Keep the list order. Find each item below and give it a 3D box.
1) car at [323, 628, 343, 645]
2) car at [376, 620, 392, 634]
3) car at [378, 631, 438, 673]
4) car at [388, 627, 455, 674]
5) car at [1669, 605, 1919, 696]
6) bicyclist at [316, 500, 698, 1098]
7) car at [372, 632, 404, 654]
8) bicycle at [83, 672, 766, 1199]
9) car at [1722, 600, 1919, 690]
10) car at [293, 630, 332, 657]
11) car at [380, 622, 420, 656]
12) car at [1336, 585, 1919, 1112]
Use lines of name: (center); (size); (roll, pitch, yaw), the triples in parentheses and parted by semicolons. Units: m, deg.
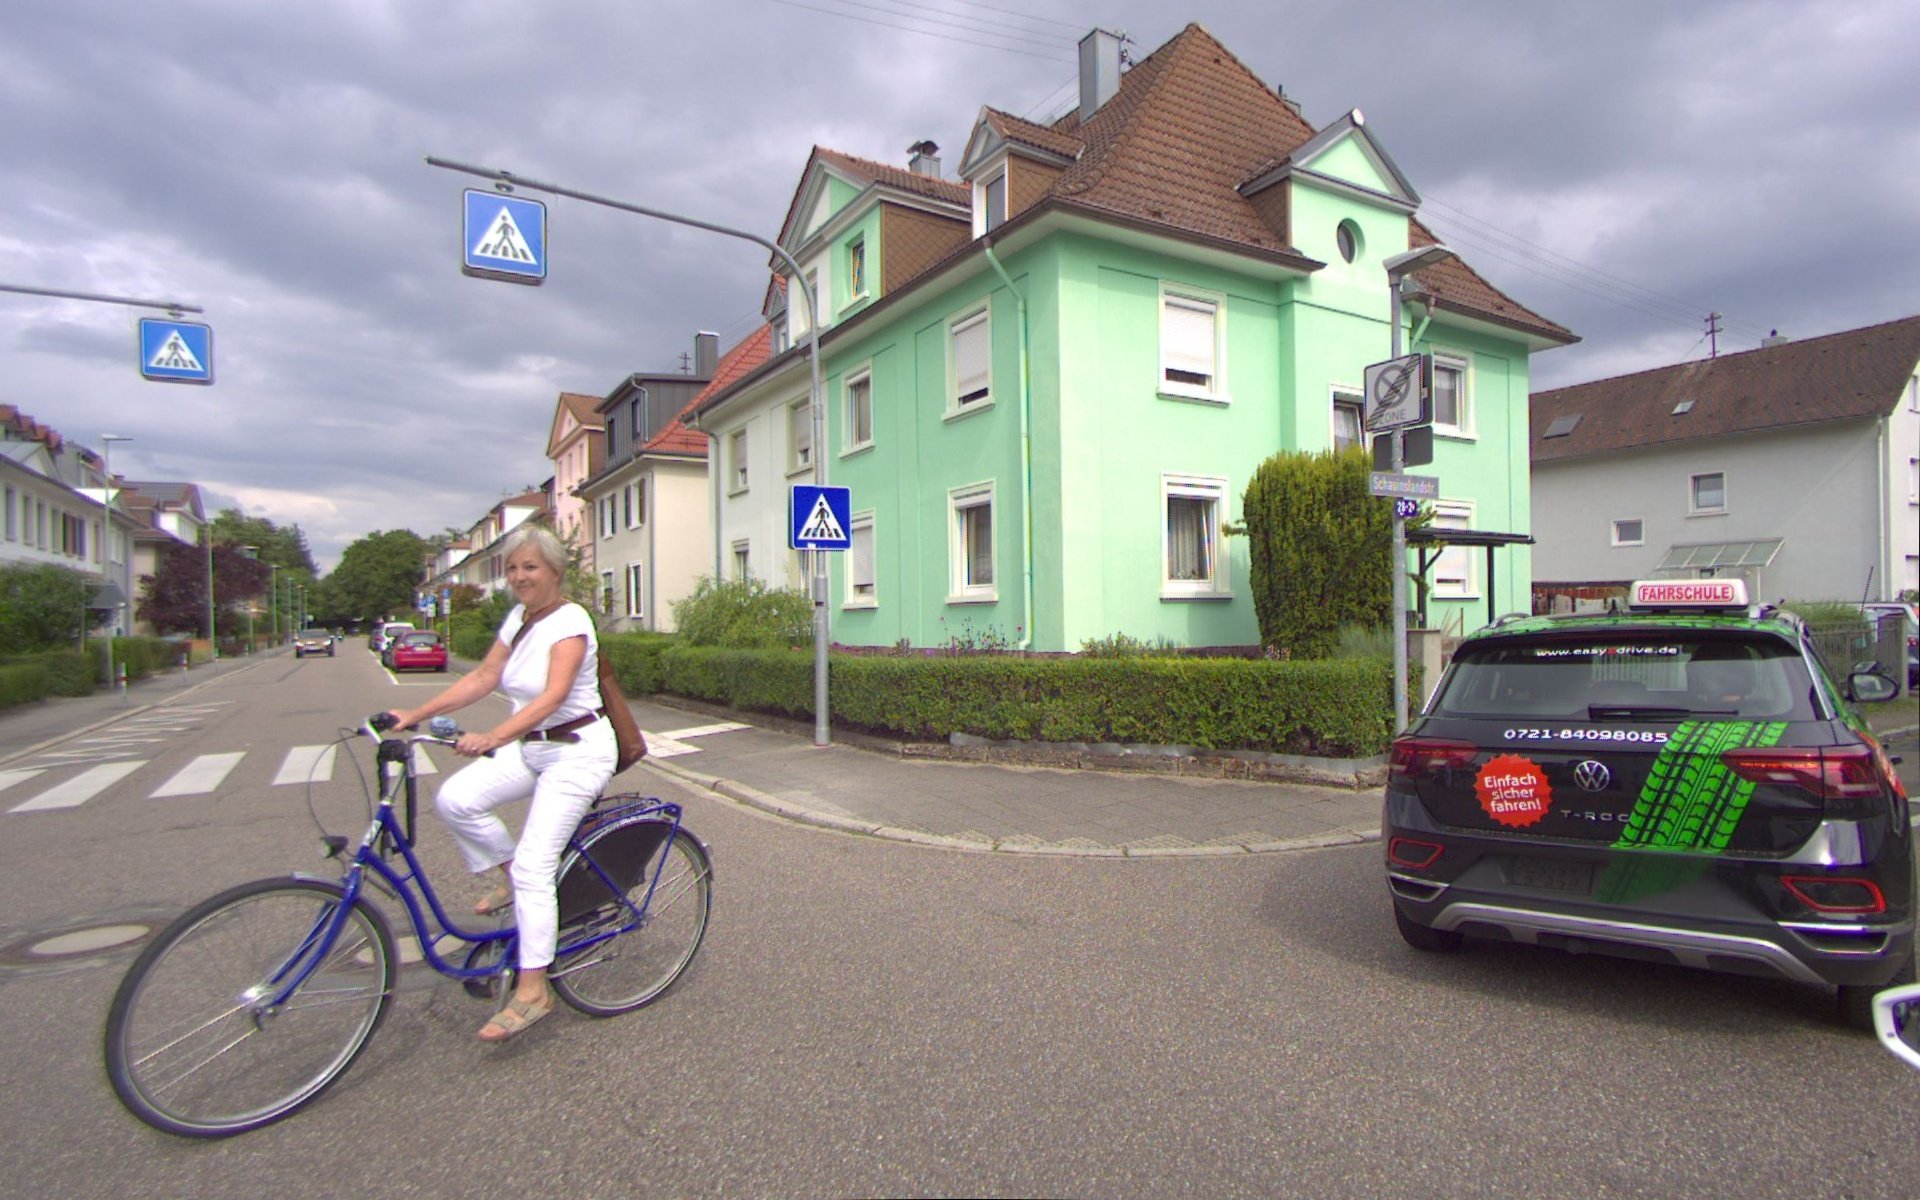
car: (-69.212, 4.012, 110.895); (1.791, 1.904, 3.916); (-1, -1, -31)
car: (-87.609, 4.094, 152.849); (1.977, 2.040, 3.967); (1, -2, -31)
car: (-22.840, 2.108, 41.495); (1.977, 1.595, 3.966); (0, -1, -31)
car: (-19.972, 1.813, 37.182); (1.977, 1.595, 3.966); (0, -1, -31)
car: (15.591, 0.901, 18.738); (1.572, 1.520, 3.548); (0, -2, -35)
bicyclist: (-1.515, 0.562, 3.432); (0.688, 1.689, 0.971); (0, 1, 38)
car: (-42.549, 3.165, 74.674); (1.977, 1.595, 3.966); (0, -1, -31)
bicycle: (-1.596, 0.901, 3.327); (0.696, 1.168, 1.865); (0, 1, 38)
car: (17.853, 0.878, 20.333); (1.572, 1.689, 3.548); (0, -2, -35)
car: (-37.526, 2.488, 58.250); (1.816, 1.505, 3.965); (1, -2, -32)
car: (-34.167, 2.354, 61.262); (1.977, 1.929, 3.966); (0, -1, -31)
car: (3.451, 0.775, 5.014); (1.794, 1.540, 4.026); (-1, -2, 39)
